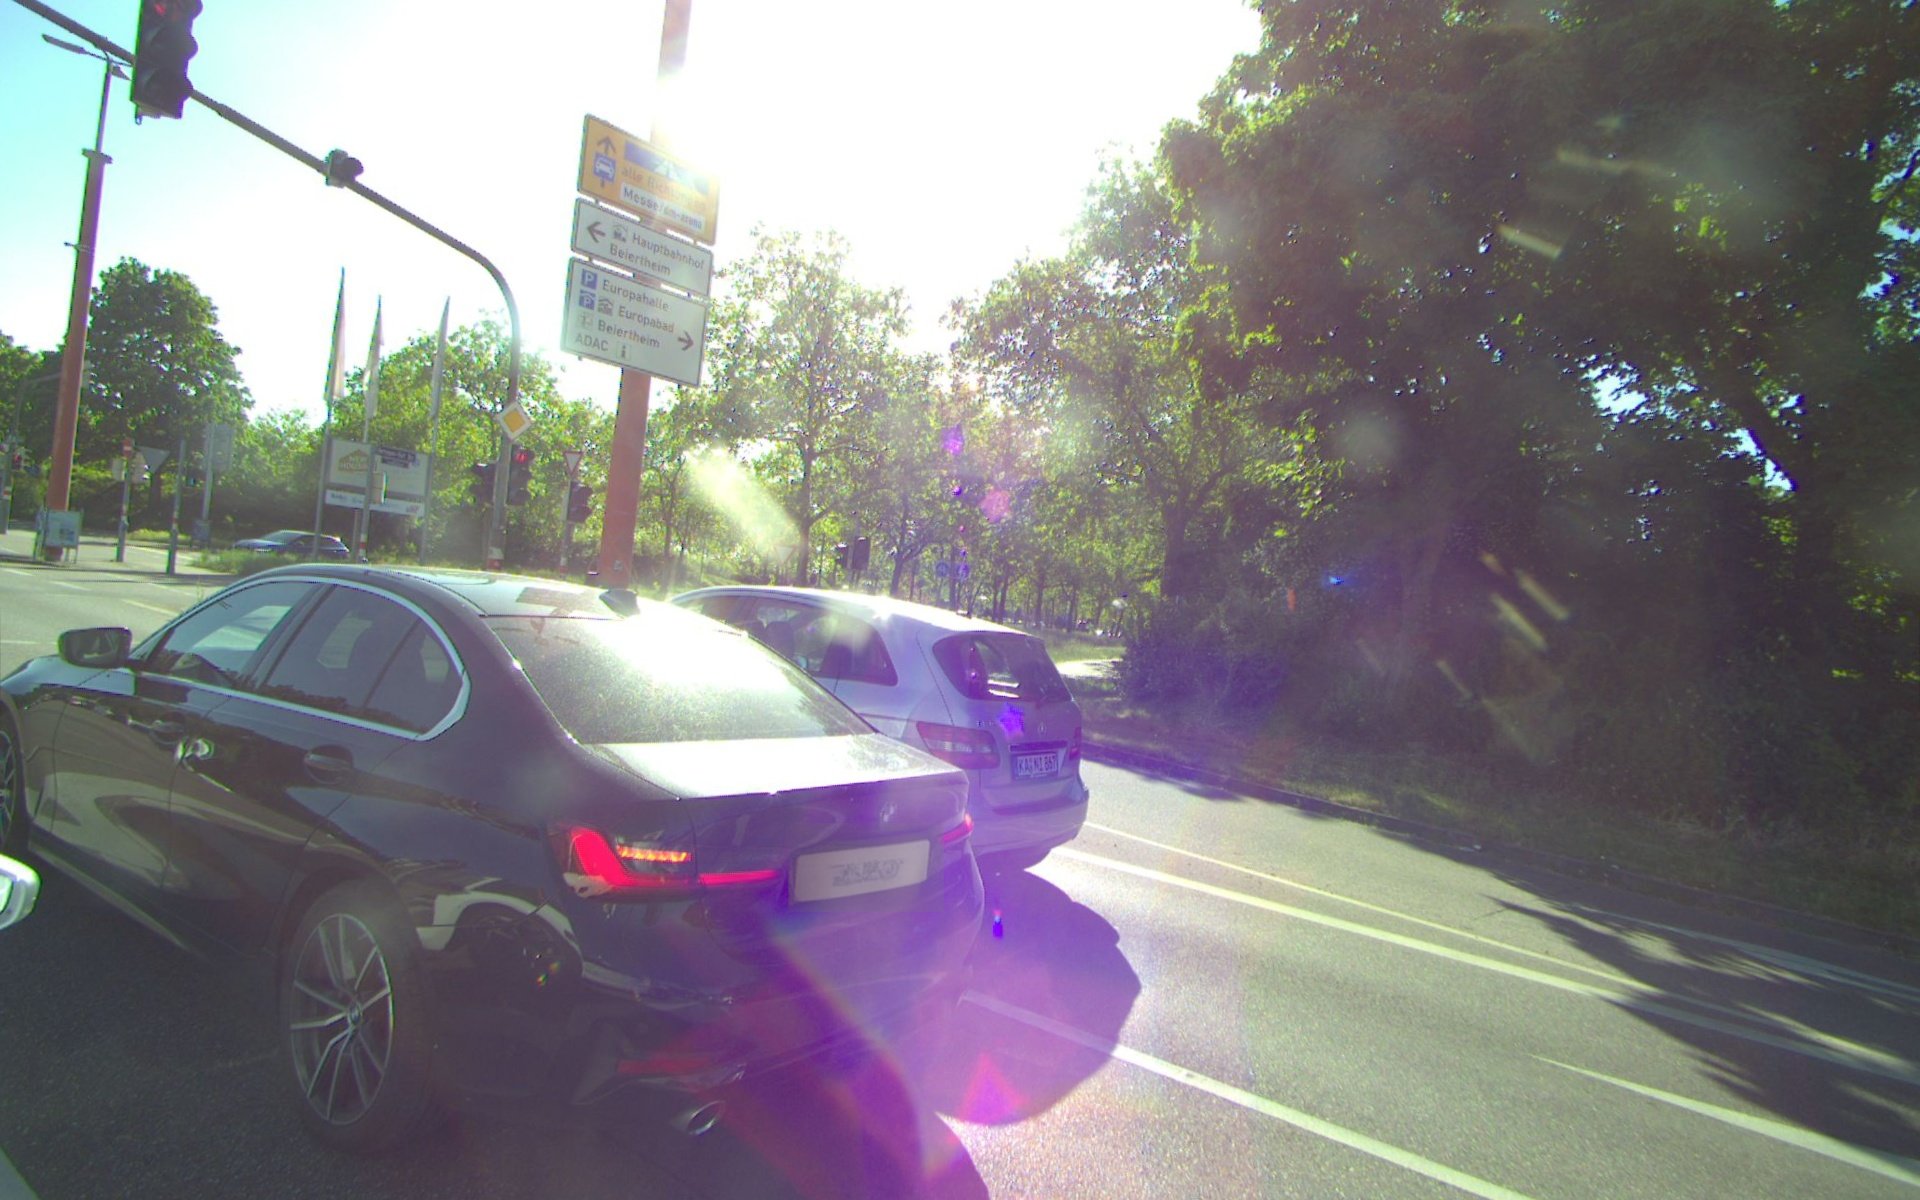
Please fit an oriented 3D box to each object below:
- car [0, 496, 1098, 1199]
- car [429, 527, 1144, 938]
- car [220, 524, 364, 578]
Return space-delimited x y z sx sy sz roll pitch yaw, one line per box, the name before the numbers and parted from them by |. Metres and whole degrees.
car | -1.960 0.527 3.879 4.403 1.411 1.996 7 0 32
car | -1.282 0.639 6.787 4.403 1.706 1.970 7 -1 32
car | -25.087 -1.813 37.981 1.848 1.445 4.283 7 -1 14
